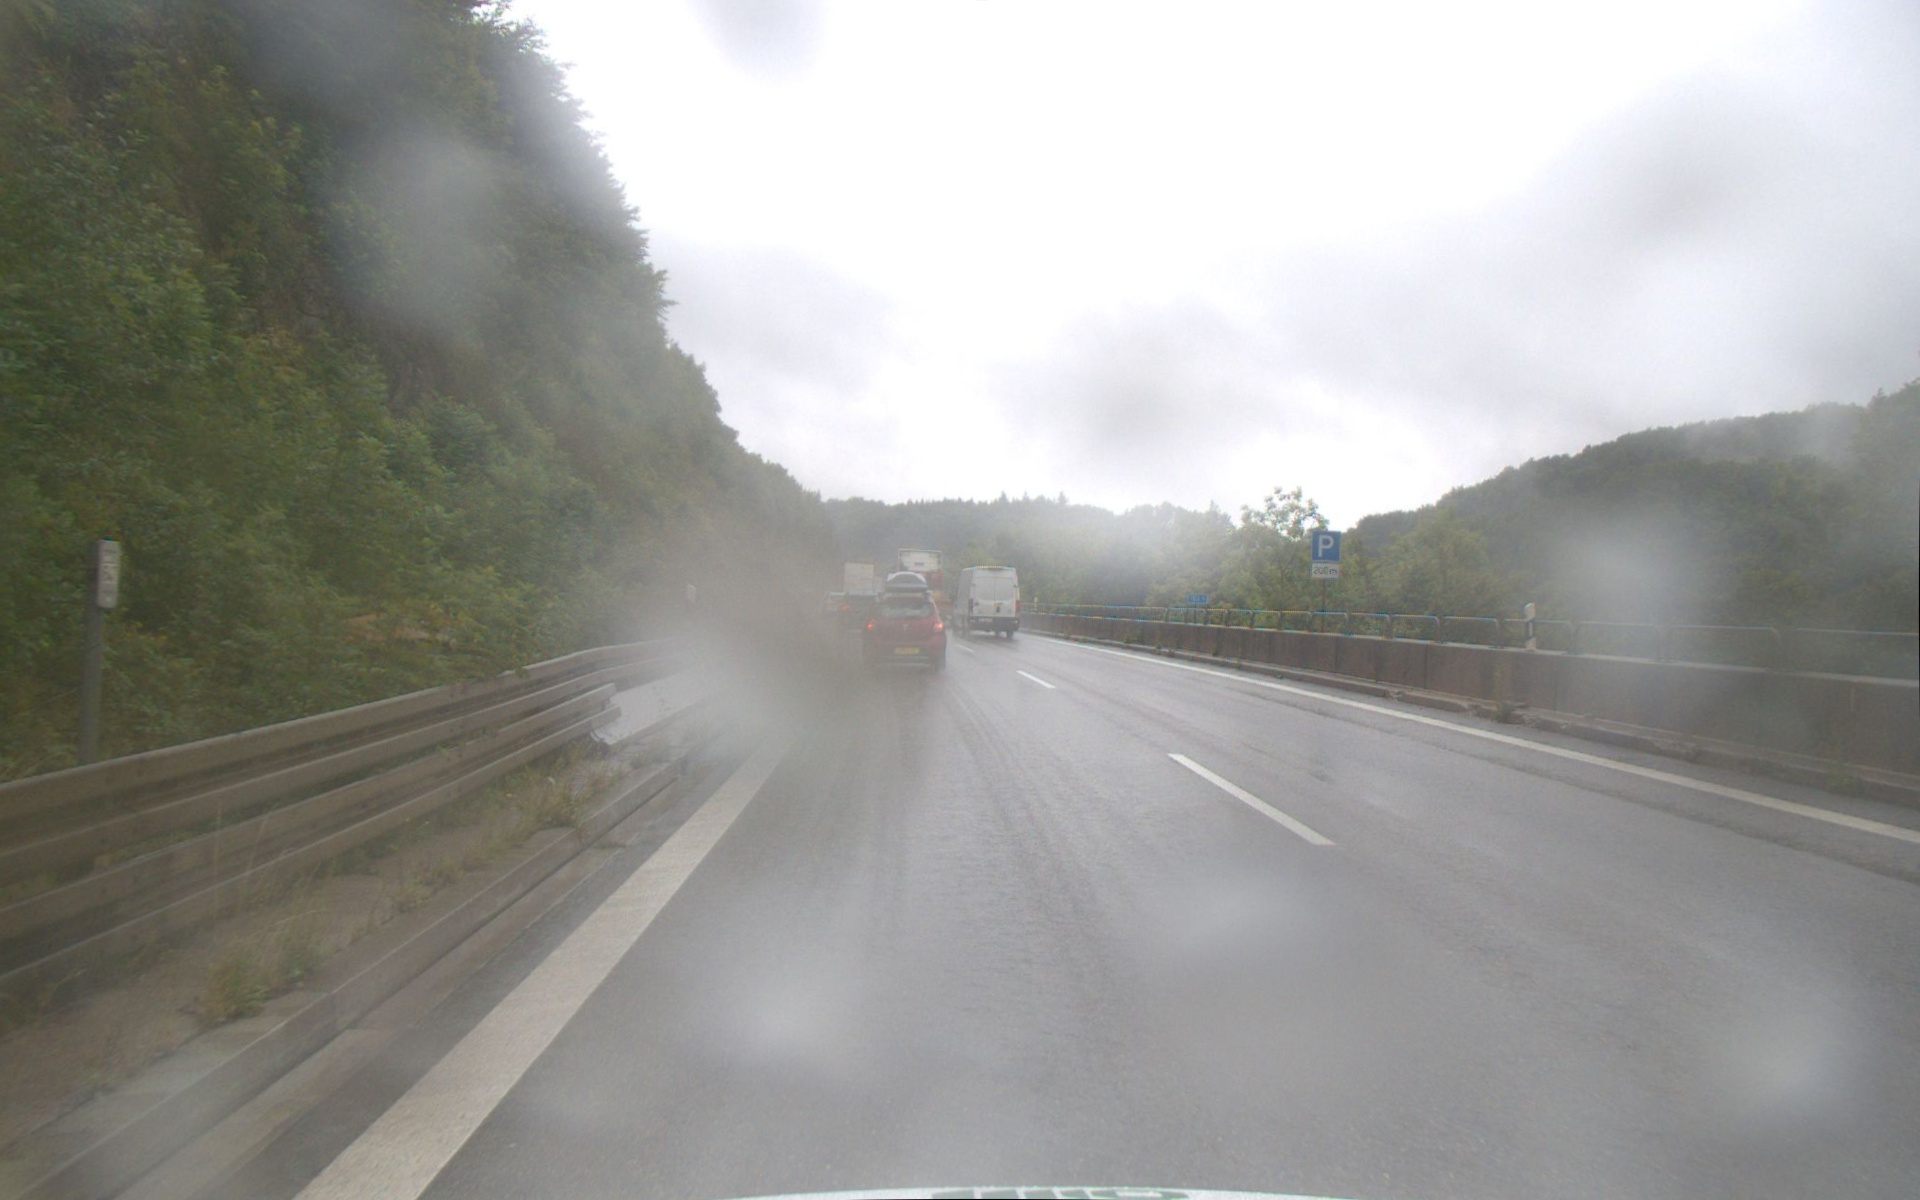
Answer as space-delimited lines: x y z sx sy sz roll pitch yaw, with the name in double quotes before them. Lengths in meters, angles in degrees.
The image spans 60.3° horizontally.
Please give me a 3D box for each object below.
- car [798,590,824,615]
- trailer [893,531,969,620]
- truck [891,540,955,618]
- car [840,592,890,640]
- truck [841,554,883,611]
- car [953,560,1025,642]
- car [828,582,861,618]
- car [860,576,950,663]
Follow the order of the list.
"car" -12.509 0.242 138.994 1.953 2.049 3.998 1 0 -2
"trailer" -1.645 -1.152 84.723 3.155 4.068 13.513 3 0 -4
"truck" -2.097 -1.127 91.690 3.156 4.047 5.435 3 0 -4
"car" -3.557 0.590 61.850 1.787 1.726 3.997 1 0 -4
"truck" -8.441 -1.439 142.223 3.161 4.764 8.288 1 0 -6
"car" 1.042 0.052 63.835 2.162 2.842 7.378 4 0 -3
"car" -6.103 -0.003 87.108 1.682 1.849 3.888 1 0 -5
"car" -1.209 0.399 34.658 1.723 1.714 3.997 1 0 -4
